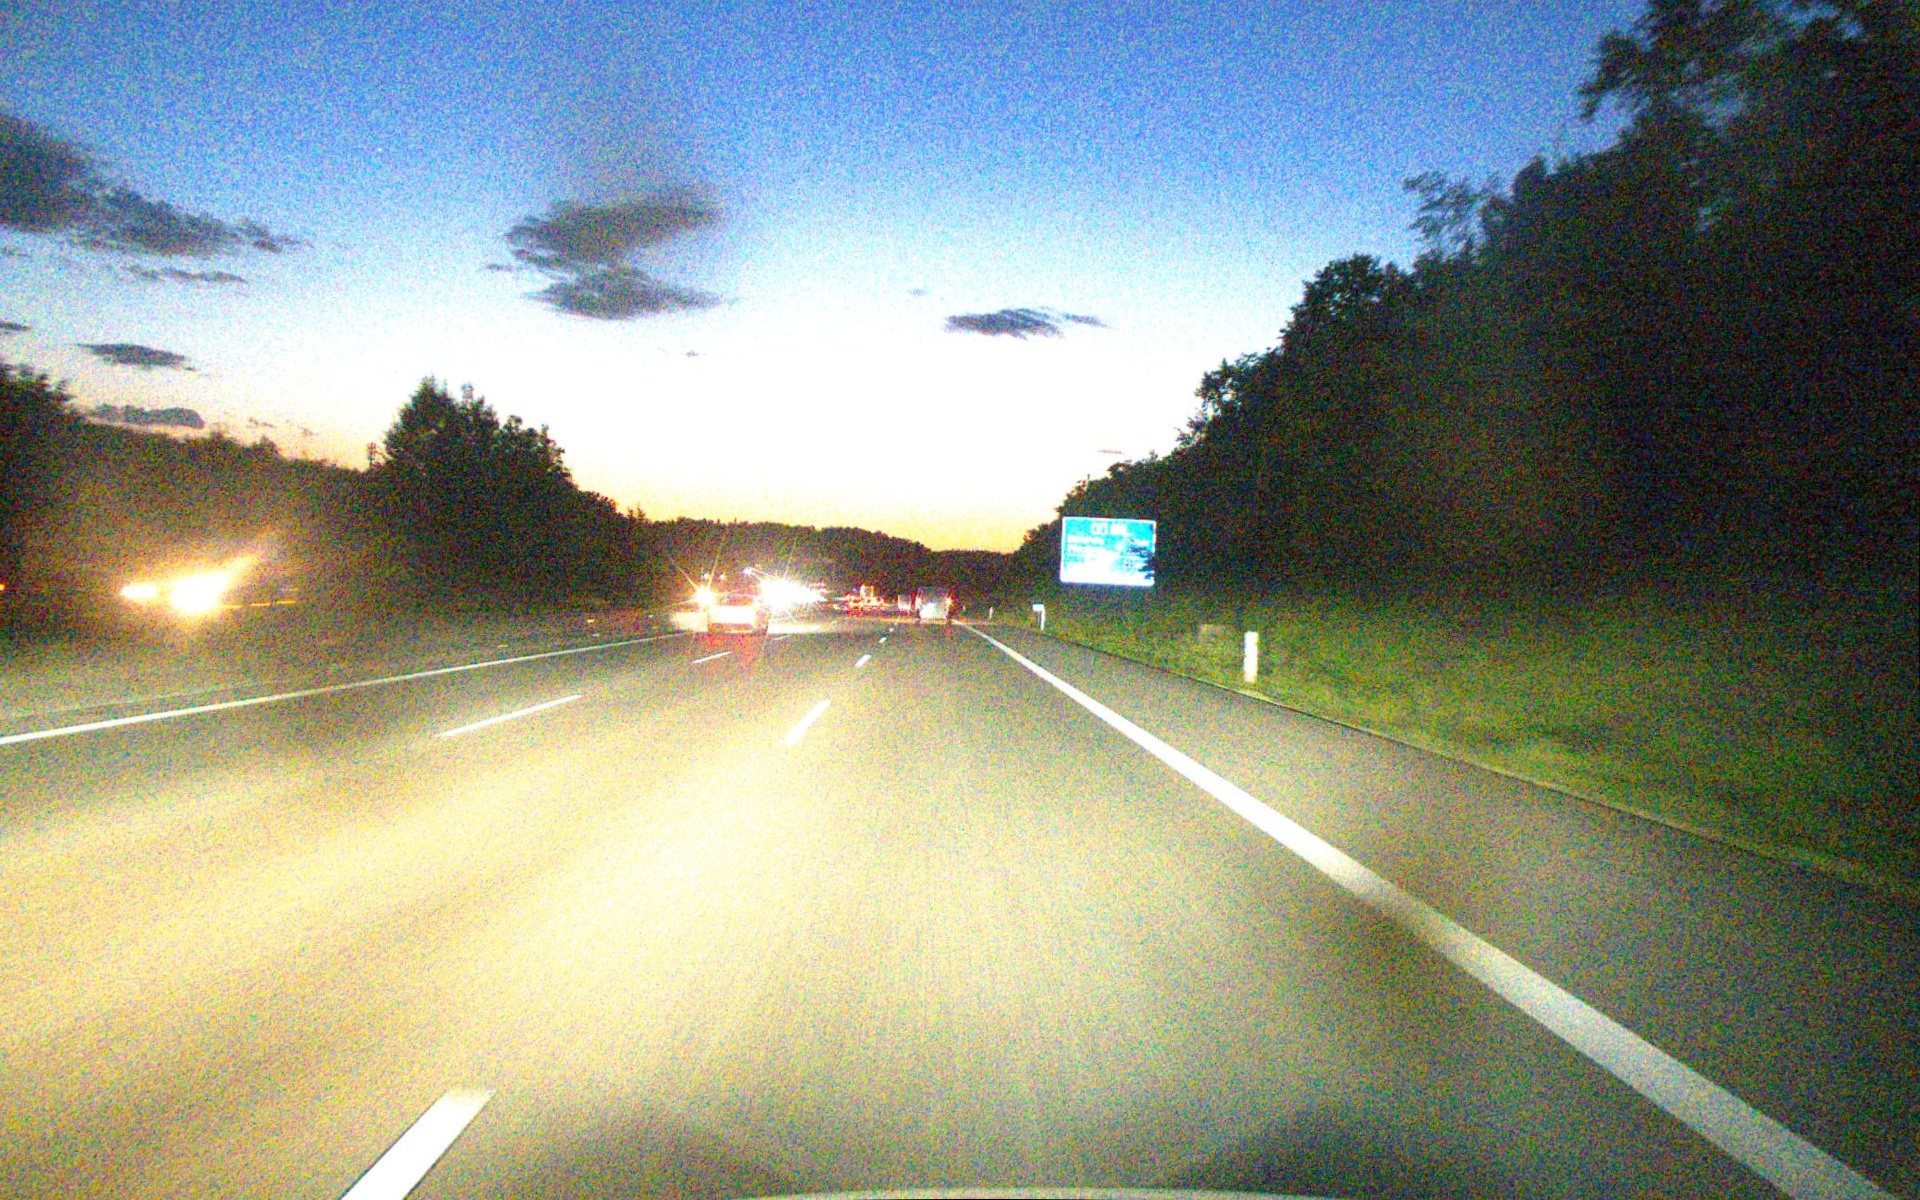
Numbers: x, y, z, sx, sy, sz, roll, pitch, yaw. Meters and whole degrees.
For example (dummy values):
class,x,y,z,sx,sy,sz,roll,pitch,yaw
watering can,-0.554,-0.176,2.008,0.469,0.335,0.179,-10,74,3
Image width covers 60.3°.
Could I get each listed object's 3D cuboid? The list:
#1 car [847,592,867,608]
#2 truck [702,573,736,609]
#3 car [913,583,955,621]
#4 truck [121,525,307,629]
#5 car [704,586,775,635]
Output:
class,x,y,z,sx,sy,sz,roll,pitch,yaw
car,-13.473,-0.004,216.540,2.152,1.989,4.633,4,1,-1
truck,-26.901,-1.019,184.941,2.468,3.919,9.063,1,0,-1
car,-1.401,0.064,89.604,2.151,1.989,4.763,0,1,0
truck,-22.616,-0.701,50.593,2.152,2.773,7.623,4,1,-1
car,-7.695,0.331,58.143,1.744,1.512,5.253,4,1,-1
